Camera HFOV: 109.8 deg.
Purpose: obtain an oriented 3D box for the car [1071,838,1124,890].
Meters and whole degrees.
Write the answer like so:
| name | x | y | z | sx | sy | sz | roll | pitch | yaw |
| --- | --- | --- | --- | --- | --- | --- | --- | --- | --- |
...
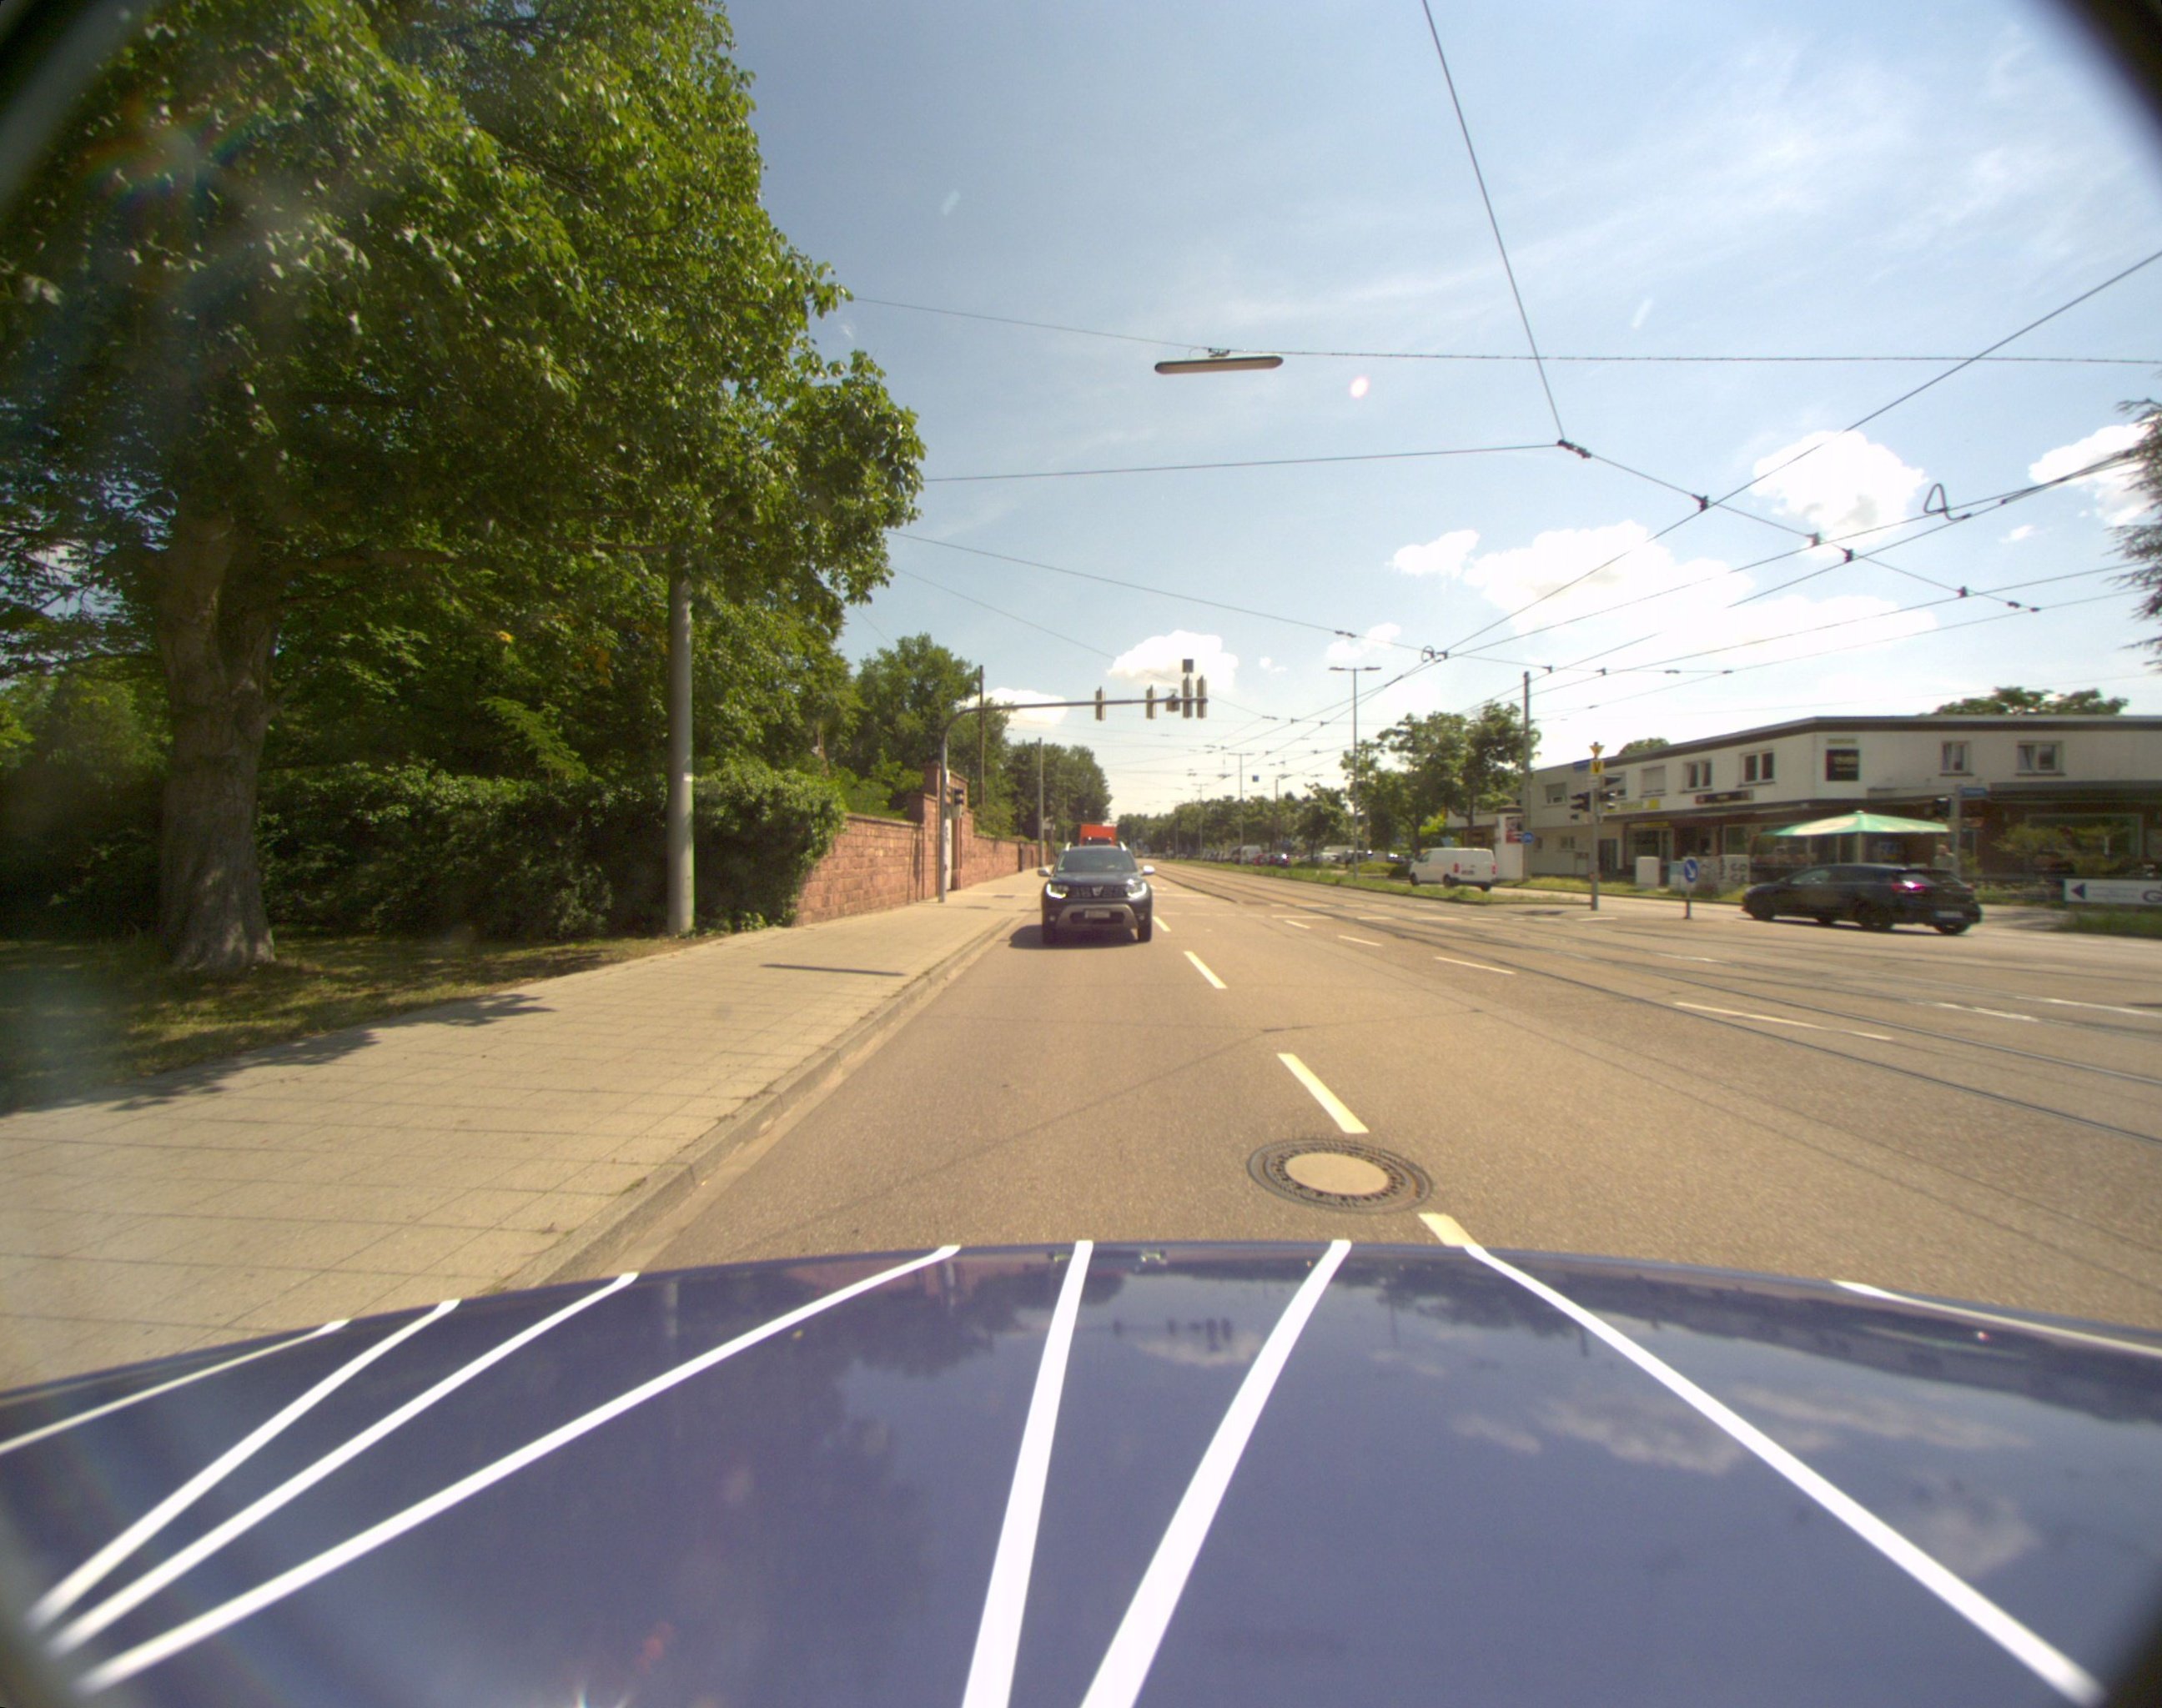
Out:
| name | x | y | z | sx | sy | sz | roll | pitch | yaw |
| --- | --- | --- | --- | --- | --- | --- | --- | --- | --- |
| car | 0.637 | 0.353 | 31.042 | 1.998 | 2.002 | 3.999 | 0 | 1 | 0 |

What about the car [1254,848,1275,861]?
| name | x | y | z | sx | sy | sz | roll | pitch | yaw |
| --- | --- | --- | --- | --- | --- | --- | --- | --- | --- |
| car | 22.489 | 0.072 | 93.223 | 1.744 | 1.586 | 4.000 | 1 | 0 | 1 |

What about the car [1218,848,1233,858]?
| name | x | y | z | sx | sy | sz | roll | pitch | yaw |
| --- | --- | --- | --- | --- | --- | --- | --- | --- | --- |
| car | 23.473 | -0.155 | 123.342 | 1.744 | 1.683 | 4.000 | 1 | 0 | 1 |

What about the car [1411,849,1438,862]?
| name | x | y | z | sx | sy | sz | roll | pitch | yaw |
| --- | --- | --- | --- | --- | --- | --- | --- | --- | --- |
| car | 45.142 | 0.221 | 99.809 | 1.744 | 1.683 | 4.000 | 1 | 0 | 1 |

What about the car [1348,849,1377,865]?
| name | x | y | z | sx | sy | sz | roll | pitch | yaw |
| --- | --- | --- | --- | --- | --- | --- | --- | --- | --- |
| car | 31.583 | 0.335 | 85.418 | 1.744 | 1.683 | 4.000 | 1 | 0 | 1 |

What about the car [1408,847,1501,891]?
| name | x | y | z | sx | sy | sz | roll | pitch | yaw |
| --- | --- | --- | --- | --- | --- | --- | --- | --- | --- |
| car | 16.892 | 0.633 | 34.629 | 1.863 | 1.865 | 4.554 | 1 | 0 | -2 |

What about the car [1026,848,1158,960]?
| name | x | y | z | sx | sy | sz | roll | pitch | yaw |
| --- | --- | --- | --- | --- | --- | --- | --- | --- | --- |
| car | 0.346 | 0.727 | 13.022 | 1.845 | 1.564 | 4.489 | -1 | 0 | 5 |

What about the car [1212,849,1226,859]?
| name | x | y | z | sx | sy | sz | roll | pitch | yaw |
| --- | --- | --- | --- | --- | --- | --- | --- | --- | --- |
| car | 23.653 | 0.002 | 130.039 | 1.744 | 1.683 | 4.000 | 1 | 0 | 1 |

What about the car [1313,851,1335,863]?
| name | x | y | z | sx | sy | sz | roll | pitch | yaw |
| --- | --- | --- | --- | --- | --- | --- | --- | --- | --- |
| car | 33.012 | 0.395 | 103.429 | 1.744 | 1.683 | 4.000 | 0 | 0 | 1 |

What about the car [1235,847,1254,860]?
| name | x | y | z | sx | sy | sz | roll | pitch | yaw |
| --- | --- | --- | --- | --- | --- | --- | --- | --- | --- |
| car | 22.928 | -0.080 | 106.713 | 1.744 | 1.683 | 4.000 | 1 | 0 | 1 |

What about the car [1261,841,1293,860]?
| name | x | y | z | sx | sy | sz | roll | pitch | yaw |
| --- | --- | --- | --- | --- | --- | --- | --- | --- | --- |
| car | 16.958 | -0.300 | 65.849 | 1.744 | 1.586 | 4.000 | 1 | 0 | 1 |

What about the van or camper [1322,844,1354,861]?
| name | x | y | z | sx | sy | sz | roll | pitch | yaw |
| --- | --- | --- | --- | --- | --- | --- | --- | --- | --- |
| van or camper | 47.828 | -0.218 | 141.407 | 5.157 | 3.099 | 2.247 | 1 | 1 | 1 |

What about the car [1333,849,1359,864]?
| name | x | y | z | sx | sy | sz | roll | pitch | yaw |
| --- | --- | --- | --- | --- | --- | --- | --- | --- | --- |
| car | 31.382 | 0.288 | 90.008 | 1.744 | 1.683 | 4.000 | 1 | 0 | 1 |

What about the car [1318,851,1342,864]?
| name | x | y | z | sx | sy | sz | roll | pitch | yaw |
| --- | --- | --- | --- | --- | --- | --- | --- | --- | --- |
| car | 32.186 | 0.412 | 98.227 | 1.744 | 1.683 | 4.000 | 0 | 0 | 1 |

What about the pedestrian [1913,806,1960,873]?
| name | x | y | z | sx | sy | sz | roll | pitch | yaw |
| --- | --- | --- | --- | --- | --- | --- | --- | --- | --- |
| pedestrian | 23.339 | -0.384 | 20.742 | 0.488 | 1.765 | 0.682 | -5 | 2 | -17 |

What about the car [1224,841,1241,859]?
| name | x | y | z | sx | sy | sz | roll | pitch | yaw |
| --- | --- | --- | --- | --- | --- | --- | --- | --- | --- |
| car | 22.851 | -0.568 | 114.575 | 1.744 | 2.573 | 4.000 | 1 | 0 | 1 |

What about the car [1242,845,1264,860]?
| name | x | y | z | sx | sy | sz | roll | pitch | yaw |
| --- | --- | --- | --- | --- | --- | --- | --- | --- | --- |
| car | 22.573 | -0.161 | 99.799 | 1.966 | 1.953 | 4.000 | 1 | 0 | 1 |

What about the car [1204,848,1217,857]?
| name | x | y | z | sx | sy | sz | roll | pitch | yaw |
| --- | --- | --- | --- | --- | --- | --- | --- | --- | --- |
| car | 23.266 | -0.271 | 136.301 | 1.744 | 1.683 | 4.000 | 1 | 0 | 1 |

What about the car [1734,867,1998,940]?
| name | x | y | z | sx | sy | sz | roll | pitch | yaw |
| --- | --- | --- | --- | --- | --- | --- | --- | --- | --- |
| car | 17.250 | 1.020 | 17.042 | 1.784 | 1.346 | 4.000 | 1 | 0 | 0 |
